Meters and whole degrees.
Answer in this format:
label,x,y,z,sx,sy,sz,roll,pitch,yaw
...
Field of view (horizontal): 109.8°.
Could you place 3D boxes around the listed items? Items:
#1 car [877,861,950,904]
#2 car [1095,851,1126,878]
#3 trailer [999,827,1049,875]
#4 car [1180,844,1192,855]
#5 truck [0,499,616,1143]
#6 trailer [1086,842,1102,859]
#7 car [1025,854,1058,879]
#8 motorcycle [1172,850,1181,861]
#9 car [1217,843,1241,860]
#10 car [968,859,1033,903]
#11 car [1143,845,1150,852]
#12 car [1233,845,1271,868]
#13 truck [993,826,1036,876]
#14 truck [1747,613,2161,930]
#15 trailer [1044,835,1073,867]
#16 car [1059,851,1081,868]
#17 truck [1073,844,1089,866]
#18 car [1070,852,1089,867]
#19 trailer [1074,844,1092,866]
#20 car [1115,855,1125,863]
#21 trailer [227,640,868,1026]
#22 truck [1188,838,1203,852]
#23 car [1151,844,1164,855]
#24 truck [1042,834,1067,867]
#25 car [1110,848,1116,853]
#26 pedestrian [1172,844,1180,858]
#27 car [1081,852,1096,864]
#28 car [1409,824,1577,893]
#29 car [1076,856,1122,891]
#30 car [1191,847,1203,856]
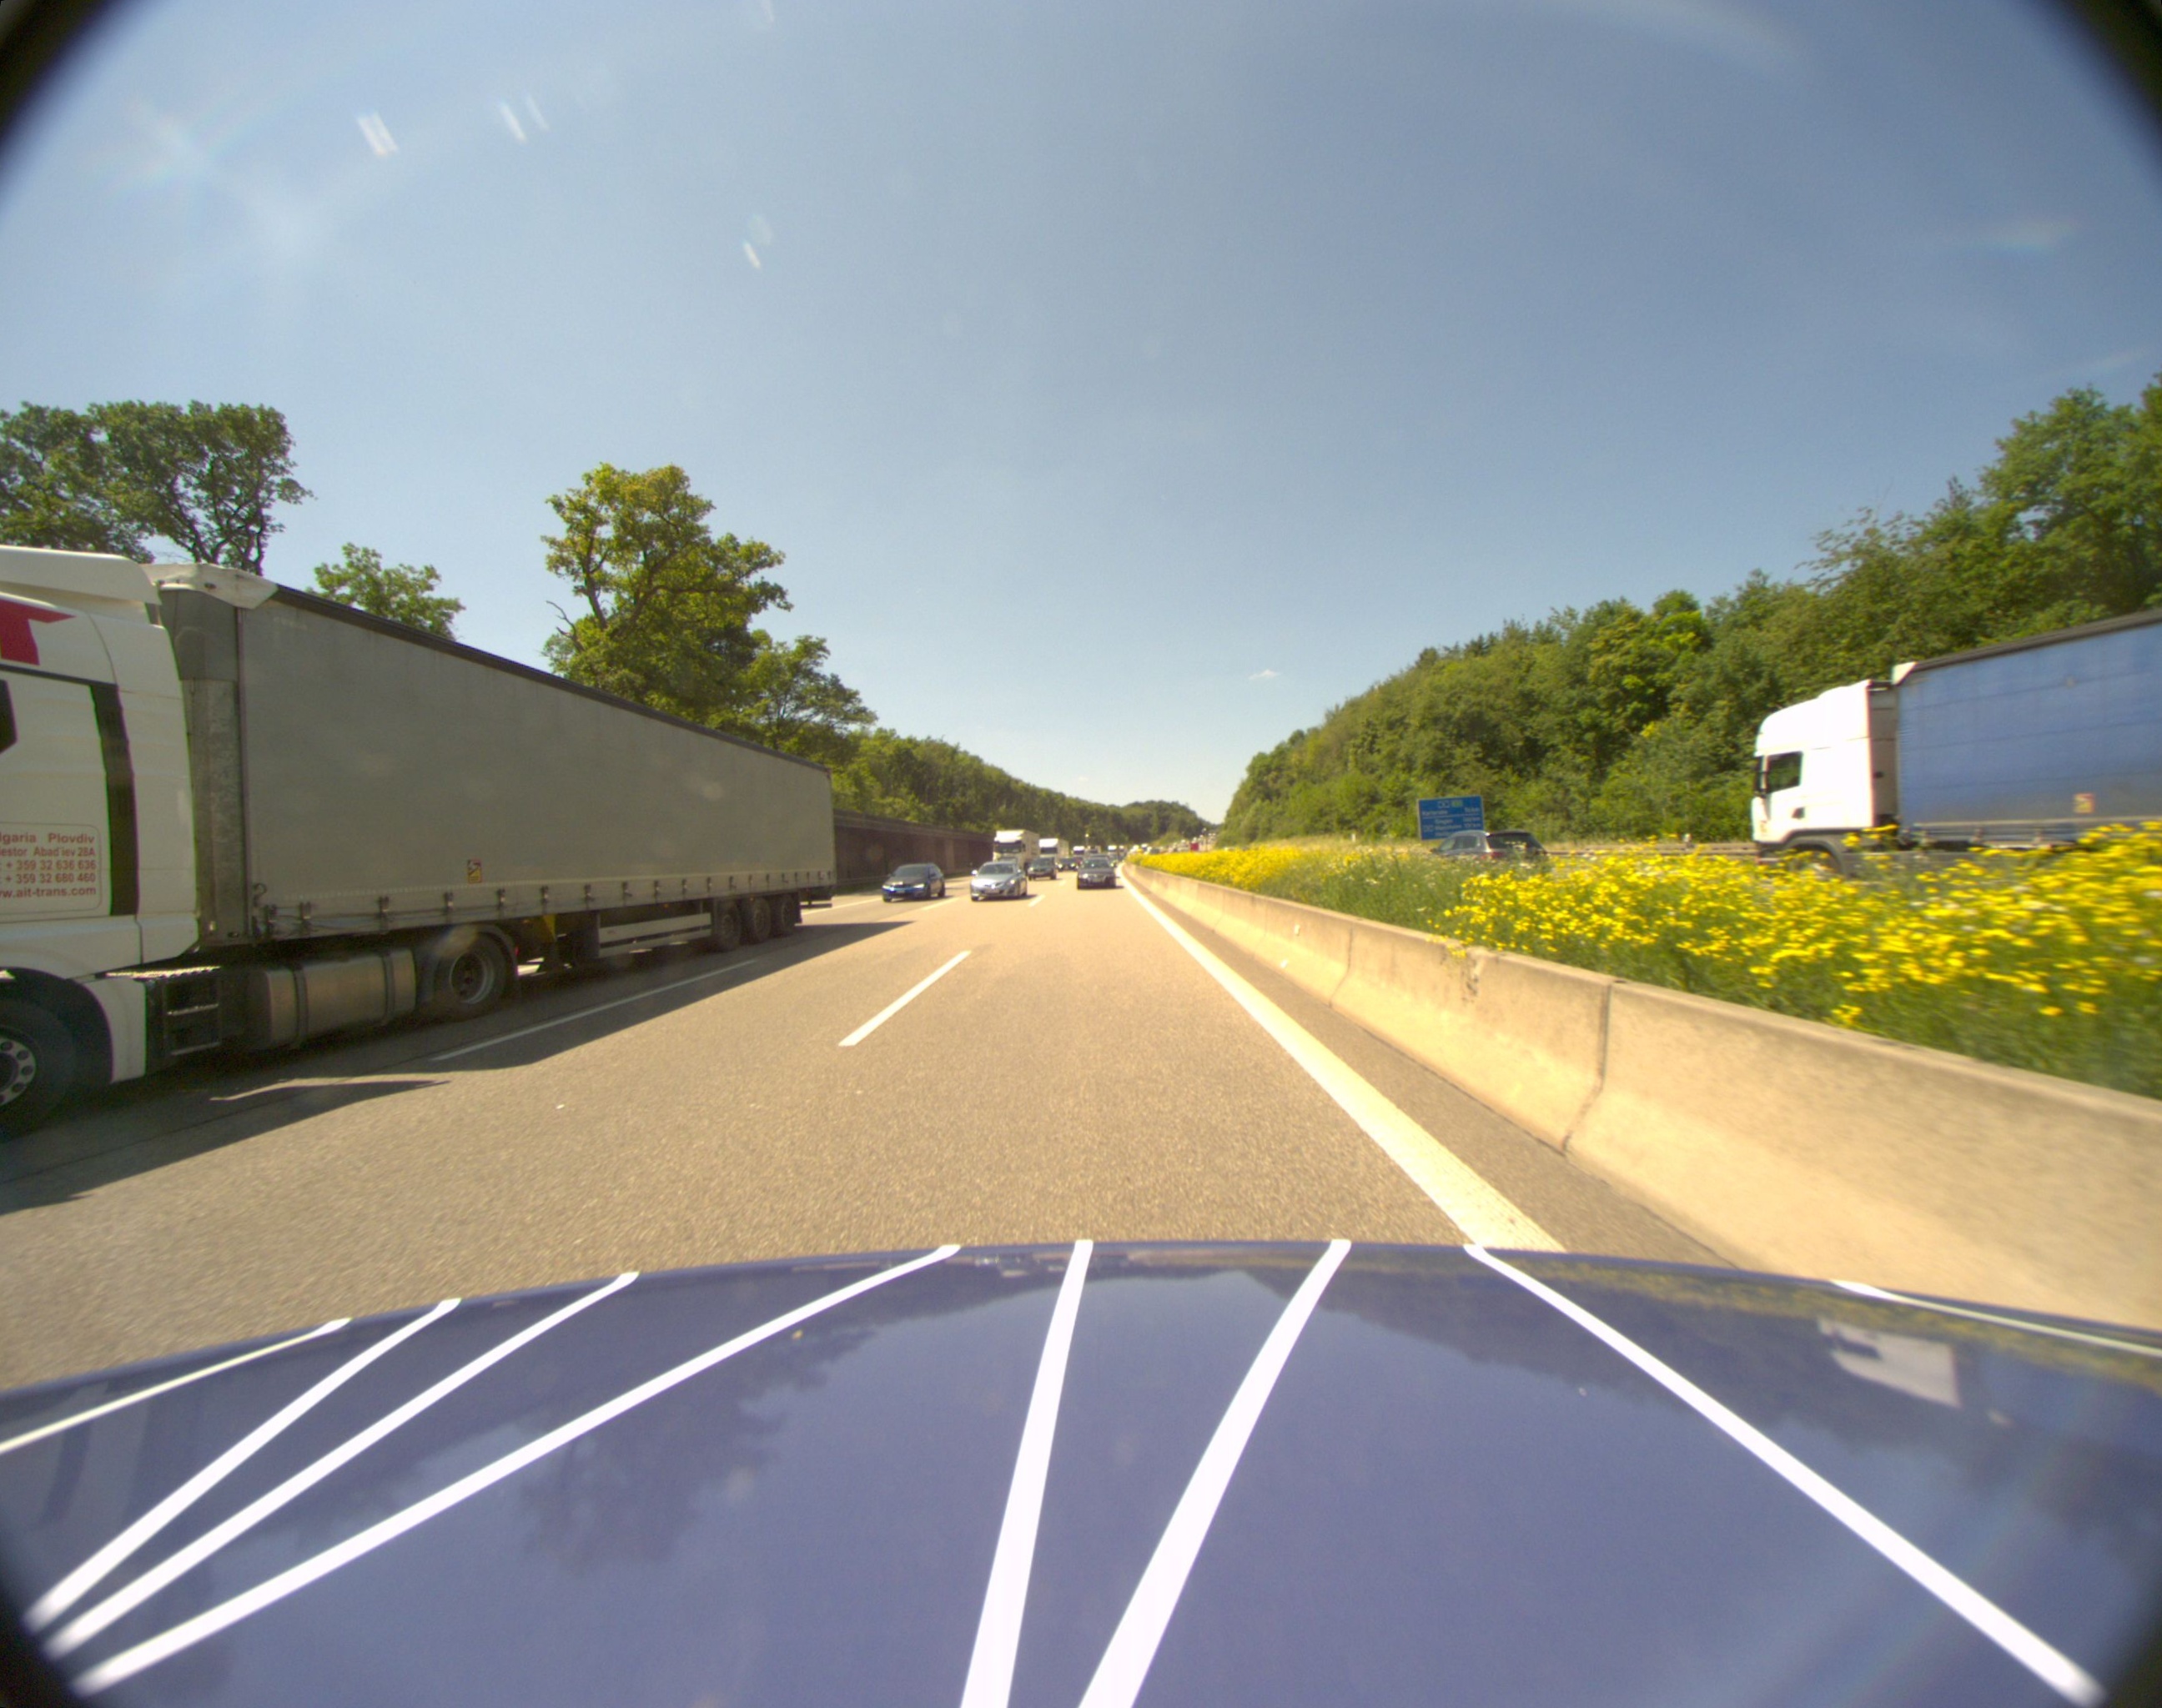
label,x,y,z,sx,sy,sz,roll,pitch,yaw
car,-6.691,1.103,30.798,1.860,1.484,4.177,-3,0,2
car,1.989,0.683,51.244,1.998,1.641,4.000,-2,1,2
trailer,-5.367,-0.307,74.286,2.821,4.190,13.467,-3,0,4
car,25.689,-1.192,186.326,2.161,2.608,5.976,-2,1,2
truck,-7.801,-0.182,7.608,2.604,4.067,5.552,-2,1,1
trailer,3.245,-0.974,189.256,3.154,4.061,6.185,-3,0,7
car,-2.646,0.853,51.937,1.907,1.550,4.000,-3,0,1
motorcycle,9.484,0.138,75.497,0.668,1.035,1.476,-2,0,1
car,17.070,-0.272,87.667,1.886,1.755,4.322,-3,0,1
car,-3.024,0.983,29.257,1.860,1.426,4.177,-3,0,2
car,21.873,-1.826,252.374,1.997,2.002,4.002,-3,0,7
car,12.051,0.192,53.784,1.809,1.480,4.000,-2,0,0
truck,-5.793,-0.277,67.493,2.811,4.190,5.422,-3,0,4
truck,14.518,-1.052,10.743,2.755,3.834,8.412,-2,0,0
trailer,-3.028,-0.435,106.077,2.541,4.149,10.180,-3,0,6
car,-1.098,0.579,78.939,1.998,1.641,4.001,-2,0,3
truck,-0.021,0.236,158.294,2.853,4.382,5.240,-3,0,4
car,-0.176,0.649,94.373,1.998,1.641,4.000,-2,0,3
trailer,0.573,0.204,166.153,2.853,4.391,13.030,-3,0,4
car,8.275,1.054,162.537,1.998,1.641,4.000,-2,0,3
trailer,-7.653,-0.285,14.984,2.604,4.067,13.591,-2,1,1
truck,33.681,-2.719,224.154,3.929,3.697,16.747,-2,0,7
car,15.210,-0.866,150.585,2.328,2.002,6.184,-2,0,4
truck,-3.531,-0.426,101.242,2.544,4.150,4.747,-3,0,6
car,10.692,-1.130,252.129,1.998,1.641,4.000,-2,0,3
pedestrian,9.463,-0.252,75.490,0.663,1.357,0.532,-2,1,1
car,1.096,0.644,112.460,1.998,1.641,4.000,-2,0,3
car,10.912,0.090,20.579,1.998,1.552,4.639,-3,0,0
car,0.786,0.839,34.303,1.907,1.410,4.000,-3,0,1
car,21.346,-0.519,139.694,1.780,1.619,4.118,-2,1,3
